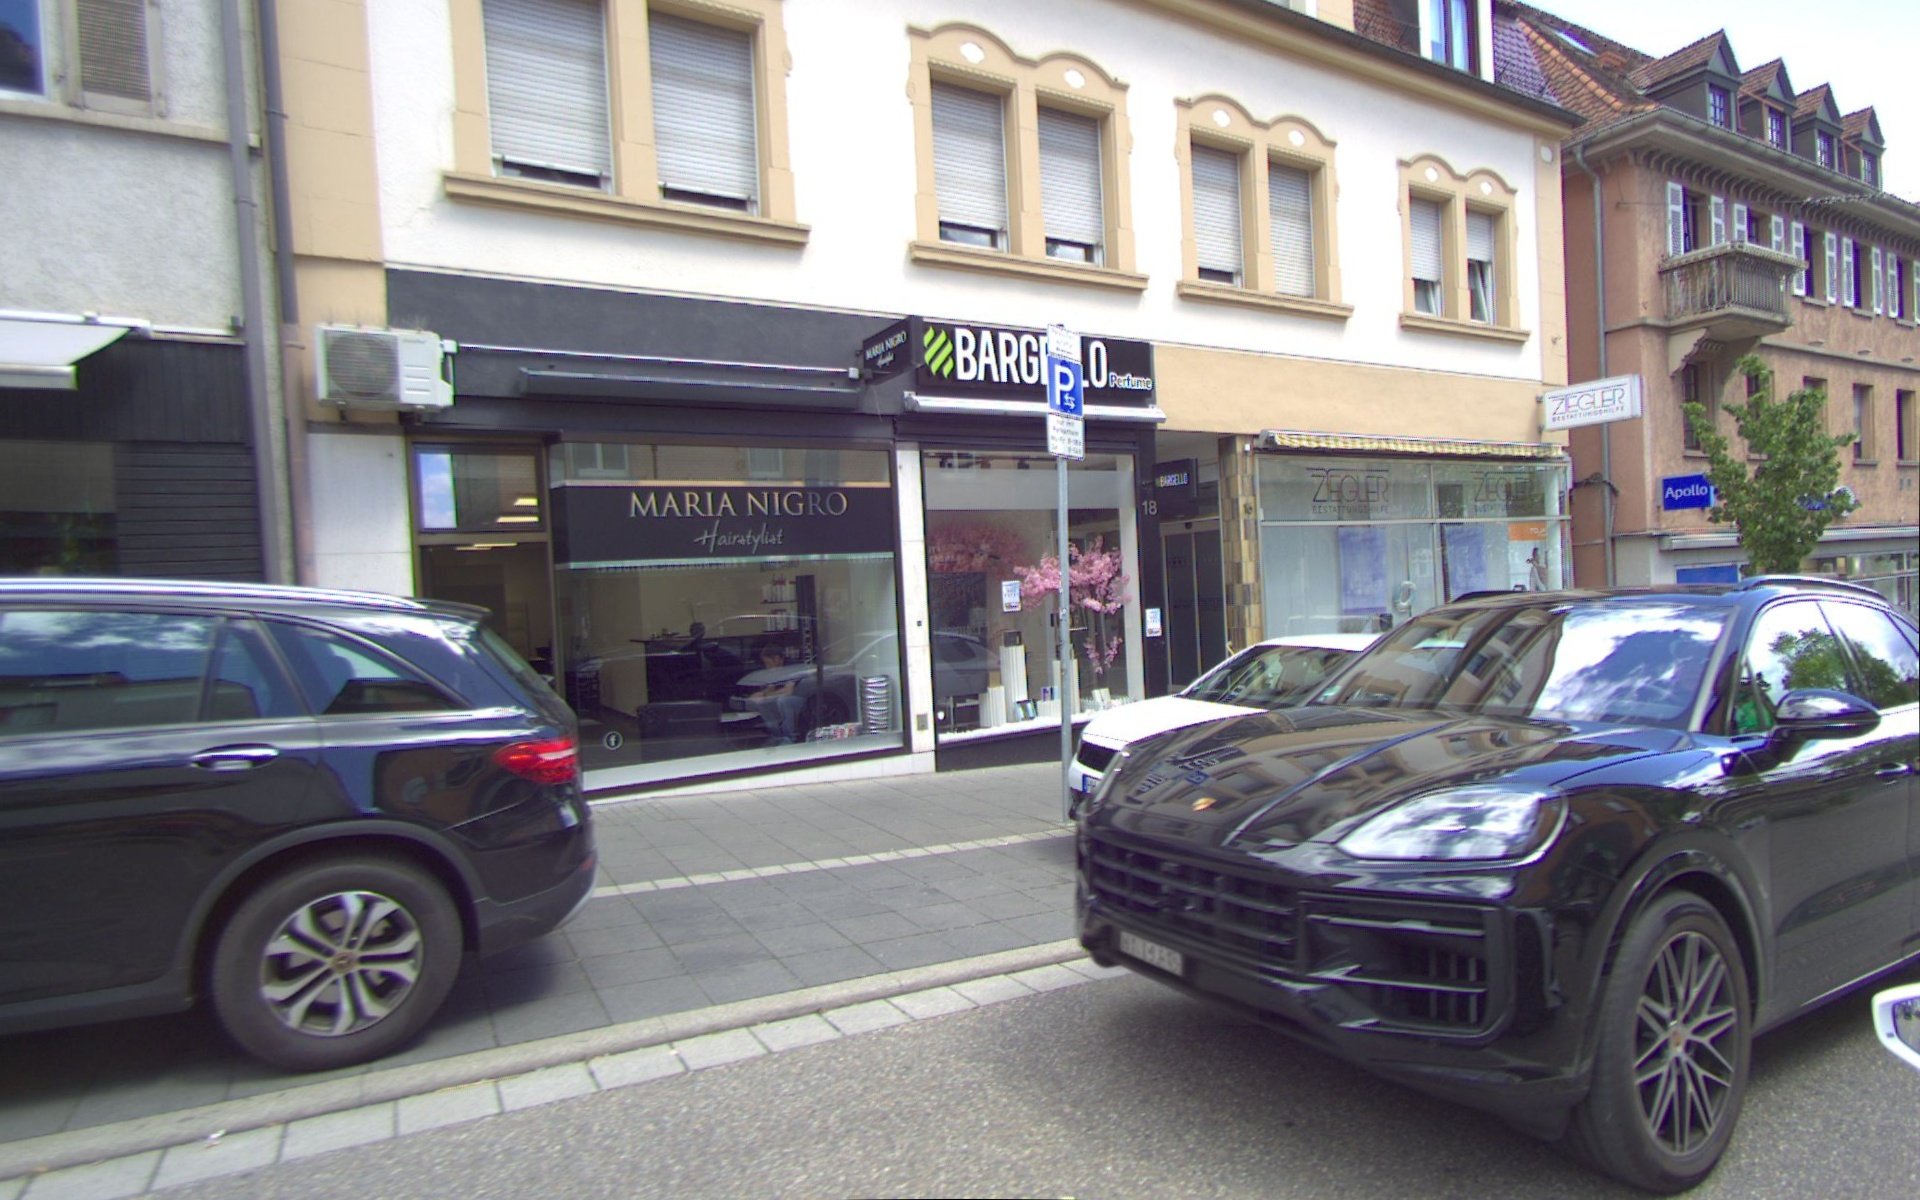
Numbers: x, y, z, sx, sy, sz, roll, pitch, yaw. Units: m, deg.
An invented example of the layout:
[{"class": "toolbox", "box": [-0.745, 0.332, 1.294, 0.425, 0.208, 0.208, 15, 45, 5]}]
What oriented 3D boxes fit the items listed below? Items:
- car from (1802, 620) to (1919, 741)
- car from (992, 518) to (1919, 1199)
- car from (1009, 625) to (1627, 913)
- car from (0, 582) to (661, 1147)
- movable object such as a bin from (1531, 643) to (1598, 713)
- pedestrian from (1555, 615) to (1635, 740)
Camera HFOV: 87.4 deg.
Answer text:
[{"class": "car", "box": [14.033, 1.065, 14.367, 4.216, 1.516, 1.915, 0, -1, -33]}, {"class": "car", "box": [2.513, 0.754, 4.164, 4.395, 1.740, 1.983, 1, -2, -30]}, {"class": "car", "box": [2.629, 0.943, 7.209, 4.210, 1.449, 1.918, 0, 0, -30]}, {"class": "car", "box": [-3.609, 0.755, 3.529, 4.587, 1.643, 1.916, 1, 0, -32]}, {"class": "movable object such as a bin", "box": [9.840, 1.267, 16.365, 0.541, 1.099, 0.737, 0, -3, -31]}, {"class": "pedestrian", "box": [8.462, 1.007, 13.391, 0.853, 1.596, 0.544, 0, -1, -31]}]
